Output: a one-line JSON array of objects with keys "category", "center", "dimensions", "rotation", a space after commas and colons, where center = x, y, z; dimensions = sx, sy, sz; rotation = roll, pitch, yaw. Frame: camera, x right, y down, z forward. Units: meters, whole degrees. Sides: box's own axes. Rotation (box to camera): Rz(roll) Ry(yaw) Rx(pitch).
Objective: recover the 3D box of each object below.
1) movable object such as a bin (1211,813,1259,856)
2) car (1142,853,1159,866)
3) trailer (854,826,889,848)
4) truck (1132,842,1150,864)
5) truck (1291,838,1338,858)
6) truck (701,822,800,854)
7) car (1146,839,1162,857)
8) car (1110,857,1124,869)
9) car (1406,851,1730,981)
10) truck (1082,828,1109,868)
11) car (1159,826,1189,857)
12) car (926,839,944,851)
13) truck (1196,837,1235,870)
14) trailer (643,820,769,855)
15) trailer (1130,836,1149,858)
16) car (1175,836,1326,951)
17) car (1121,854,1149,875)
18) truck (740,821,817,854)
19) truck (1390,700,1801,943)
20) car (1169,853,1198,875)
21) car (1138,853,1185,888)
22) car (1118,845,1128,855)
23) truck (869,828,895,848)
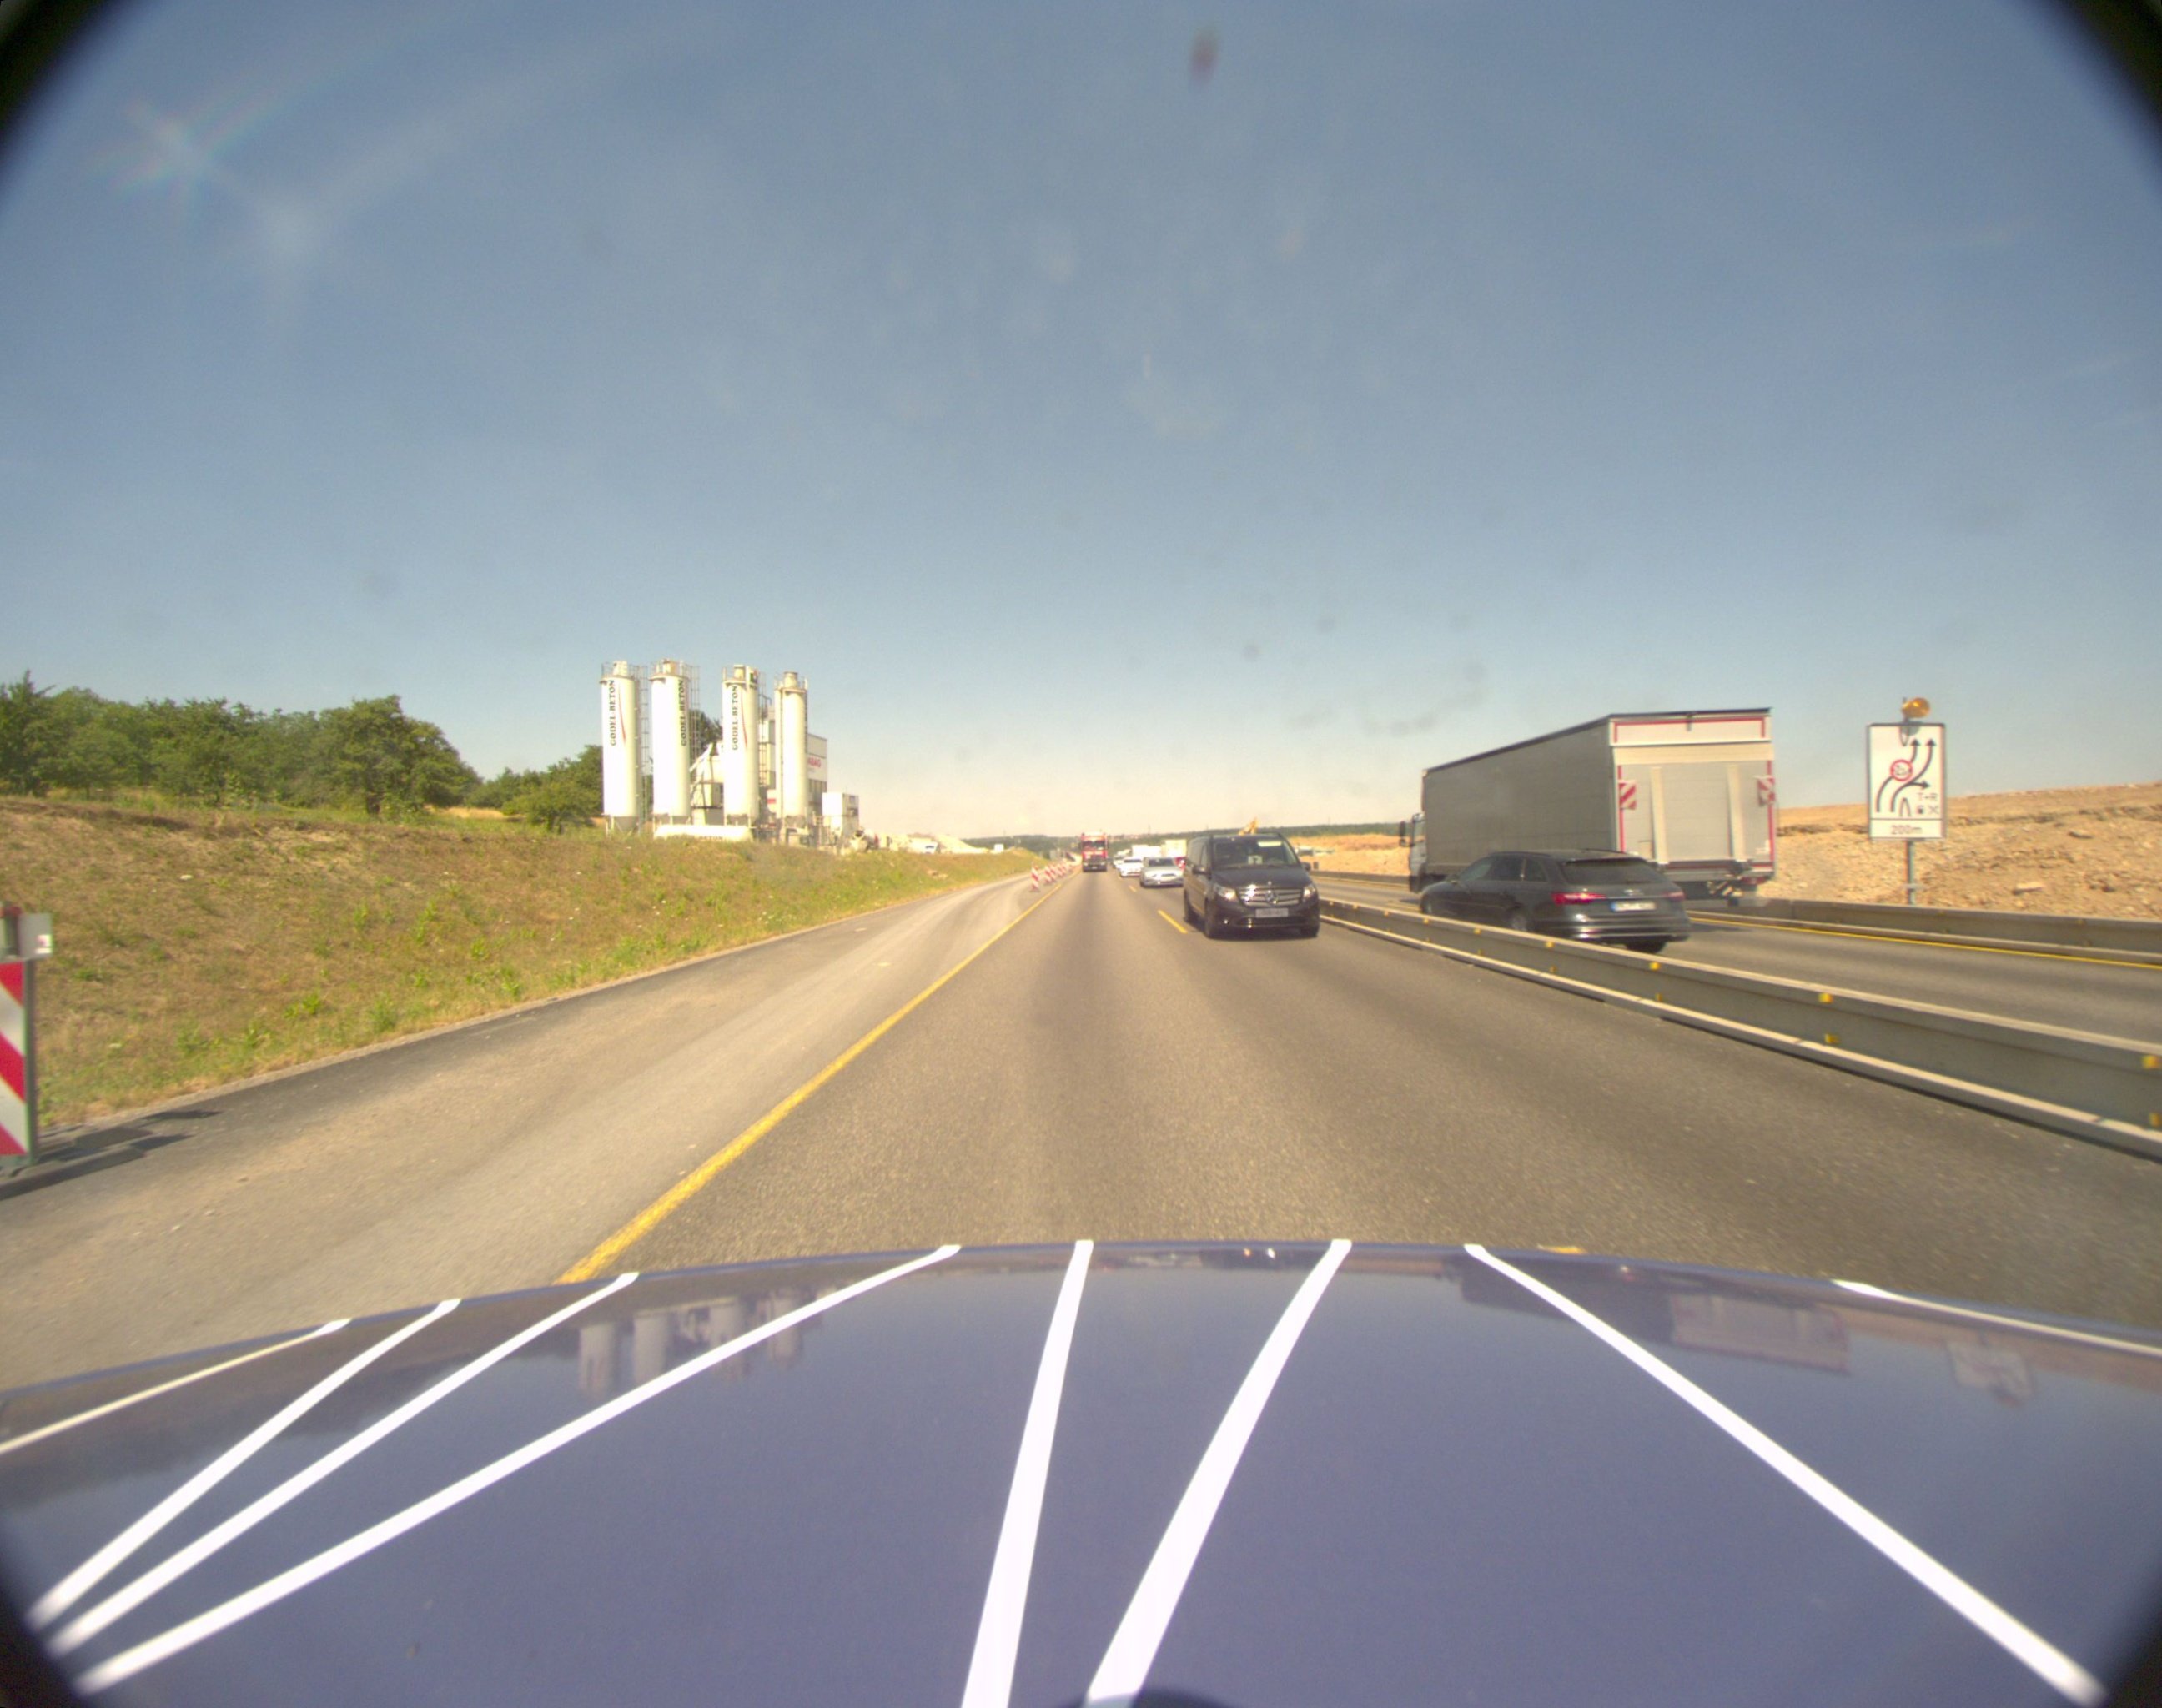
[{"category": "movable object such as a bin", "center": [26.844, -3.403, 132.769], "dimensions": [7.378, 7.073, 4.081], "rotation": [-2, 1, 1]}, {"category": "car", "center": [8.708, 0.688, 95.065], "dimensions": [1.792, 1.473, 4.561], "rotation": [-2, 1, 1]}, {"category": "trailer", "center": [-26.560, -2.109, 96.608], "dimensions": [1.998, 2.629, 6.938], "rotation": [-2, 1, 5]}, {"category": "truck", "center": [9.131, -0.194, 115.658], "dimensions": [2.276, 3.131, 7.313], "rotation": [-2, 1, 2]}, {"category": "truck", "center": [26.908, -0.718, 88.025], "dimensions": [2.568, 2.046, 8.803], "rotation": [-2, 1, 0]}, {"category": "truck", "center": [-33.599, -1.608, 77.339], "dimensions": [9.090, 2.852, 2.460], "rotation": [-2, 1, 7]}, {"category": "car", "center": [12.576, -1.113, 131.312], "dimensions": [2.257, 2.938, 5.848], "rotation": [-2, 1, 1]}, {"category": "car", "center": [4.541, 1.137, 96.380], "dimensions": [1.601, 1.390, 3.695], "rotation": [-2, 1, 2]}, {"category": "car", "center": [6.686, 0.719, 11.172], "dimensions": [1.862, 1.434, 4.500], "rotation": [-2, 1, 0]}, {"category": "truck", "center": [1.603, -0.609, 78.786], "dimensions": [2.537, 3.798, 9.481], "rotation": [-2, 1, 2]}, {"category": "car", "center": [11.782, -1.515, 96.807], "dimensions": [2.915, 3.718, 8.091], "rotation": [-2, 0, 1]}, {"category": "car", "center": [-23.239, -1.390, 120.987], "dimensions": [1.990, 1.752, 3.602], "rotation": [-2, 1, 1]}, {"category": "truck", "center": [11.309, 0.001, 64.187], "dimensions": [2.103, 2.554, 6.355], "rotation": [-3, -1, 0]}, {"category": "trailer", "center": [-30.463, -1.315, 62.009], "dimensions": [8.919, 2.592, 2.463], "rotation": [-1, 1, -2]}, {"category": "trailer", "center": [13.126, -1.523, 170.763], "dimensions": [2.993, 4.569, 12.881], "rotation": [-2, 1, -1]}, {"category": "car", "center": [3.149, 0.658, 15.338], "dimensions": [1.878, 1.840, 5.479], "rotation": [-2, 0, 1]}, {"category": "car", "center": [3.921, 0.750, 55.721], "dimensions": [1.875, 1.390, 4.030], "rotation": [-2, 1, 2]}, {"category": "truck", "center": [-25.258, -1.401, 63.464], "dimensions": [5.317, 2.530, 2.897], "rotation": [-3, 1, -35]}, {"category": "truck", "center": [9.964, -0.542, 16.595], "dimensions": [2.651, 3.695, 9.482], "rotation": [-2, 1, 1]}, {"category": "car", "center": [7.514, 0.733, 56.061], "dimensions": [1.631, 1.476, 4.053], "rotation": [-2, 1, 1]}, {"category": "car", "center": [3.744, 0.763, 35.964], "dimensions": [1.804, 1.499, 4.101], "rotation": [-2, 0, 1]}, {"category": "car", "center": [10.135, -1.024, 184.515], "dimensions": [2.040, 2.329, 6.196], "rotation": [-2, 0, 1]}, {"category": "truck", "center": [-26.300, -2.142, 100.357], "dimensions": [2.021, 2.530, 4.042], "rotation": [-2, 1, 5]}]
